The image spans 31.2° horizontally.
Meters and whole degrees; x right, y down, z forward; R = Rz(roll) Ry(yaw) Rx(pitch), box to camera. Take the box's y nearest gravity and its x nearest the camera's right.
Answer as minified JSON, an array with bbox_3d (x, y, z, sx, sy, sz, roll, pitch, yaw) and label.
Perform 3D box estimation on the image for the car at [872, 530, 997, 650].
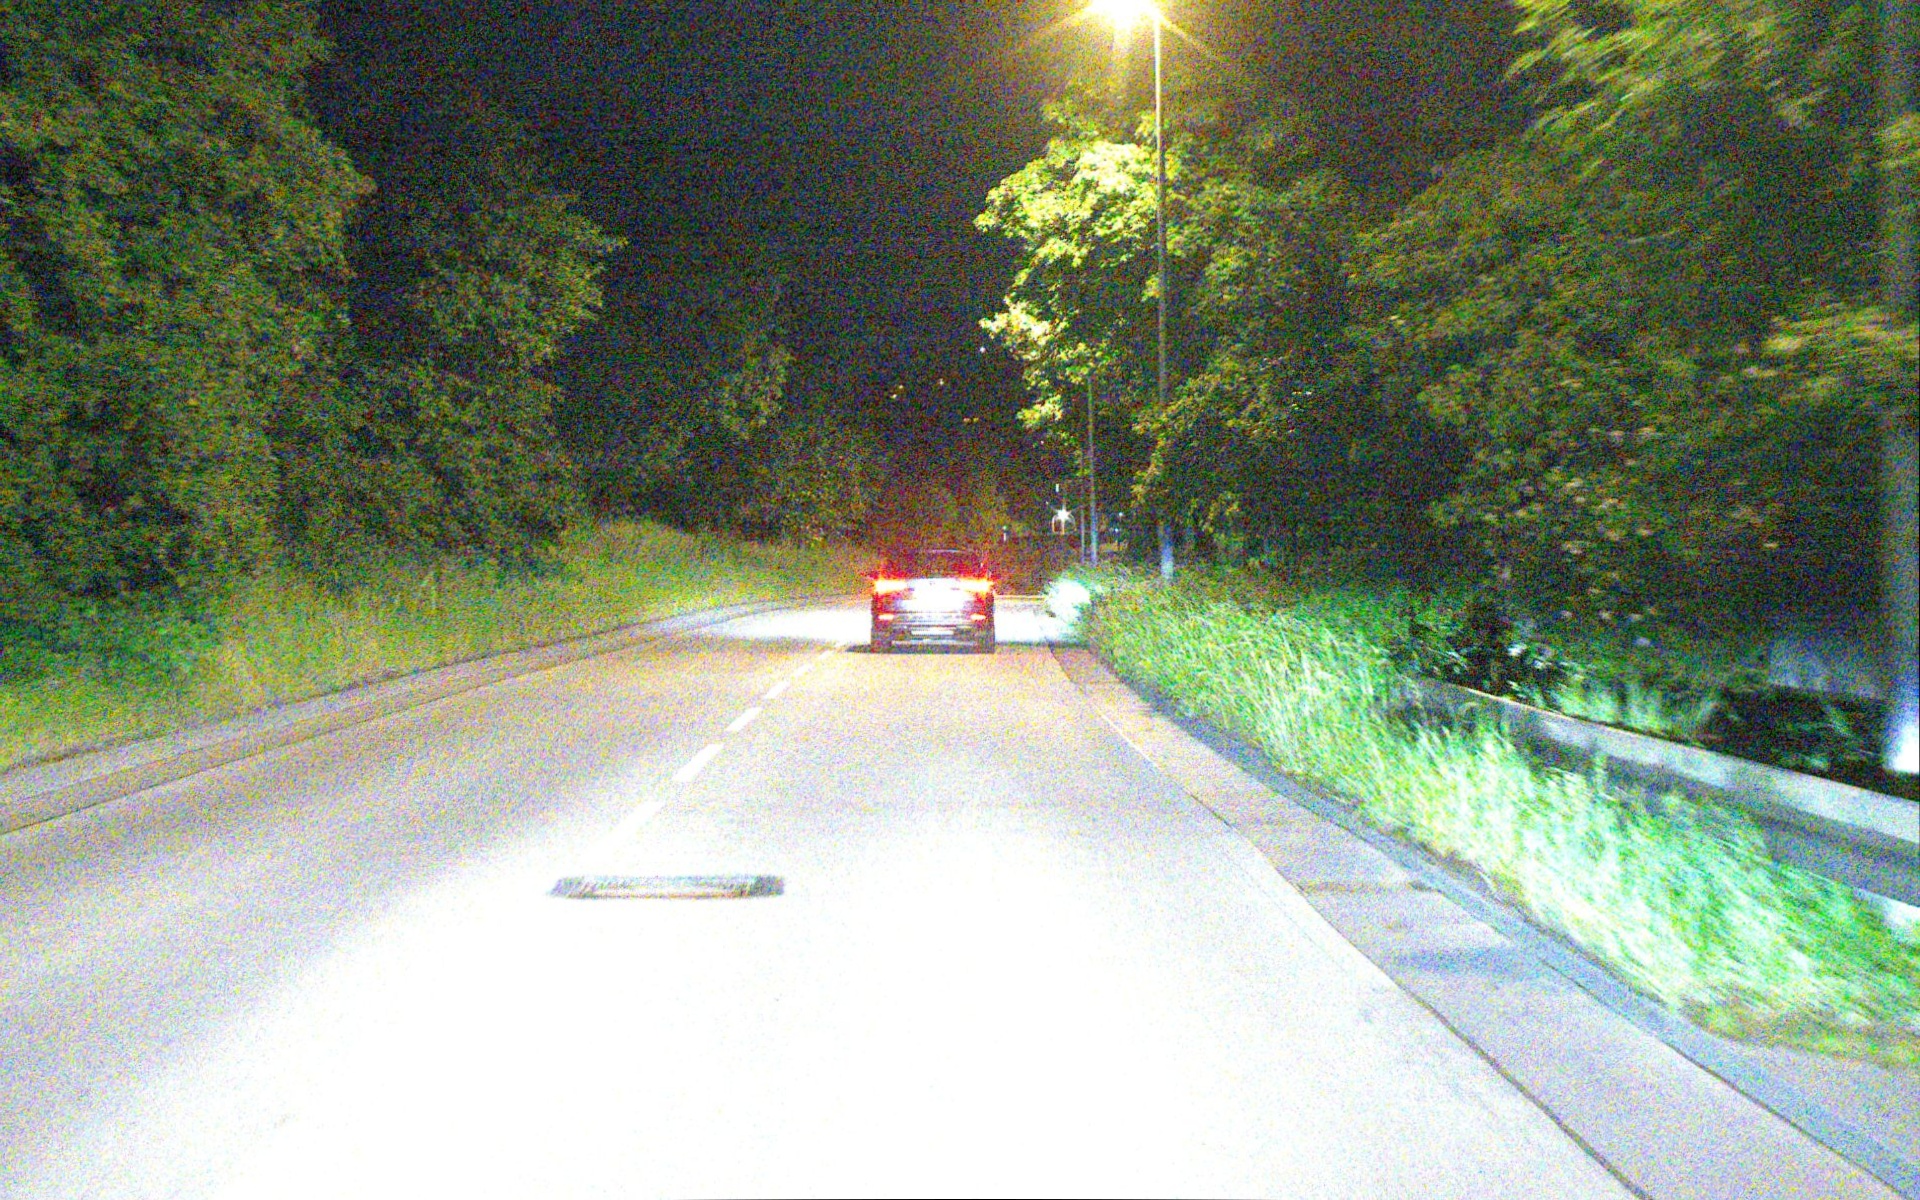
[{"bbox_3d":[-0.364,-0.182,50.664,1.763,1.636,3.723,1,2,0],"label":"car"}]
